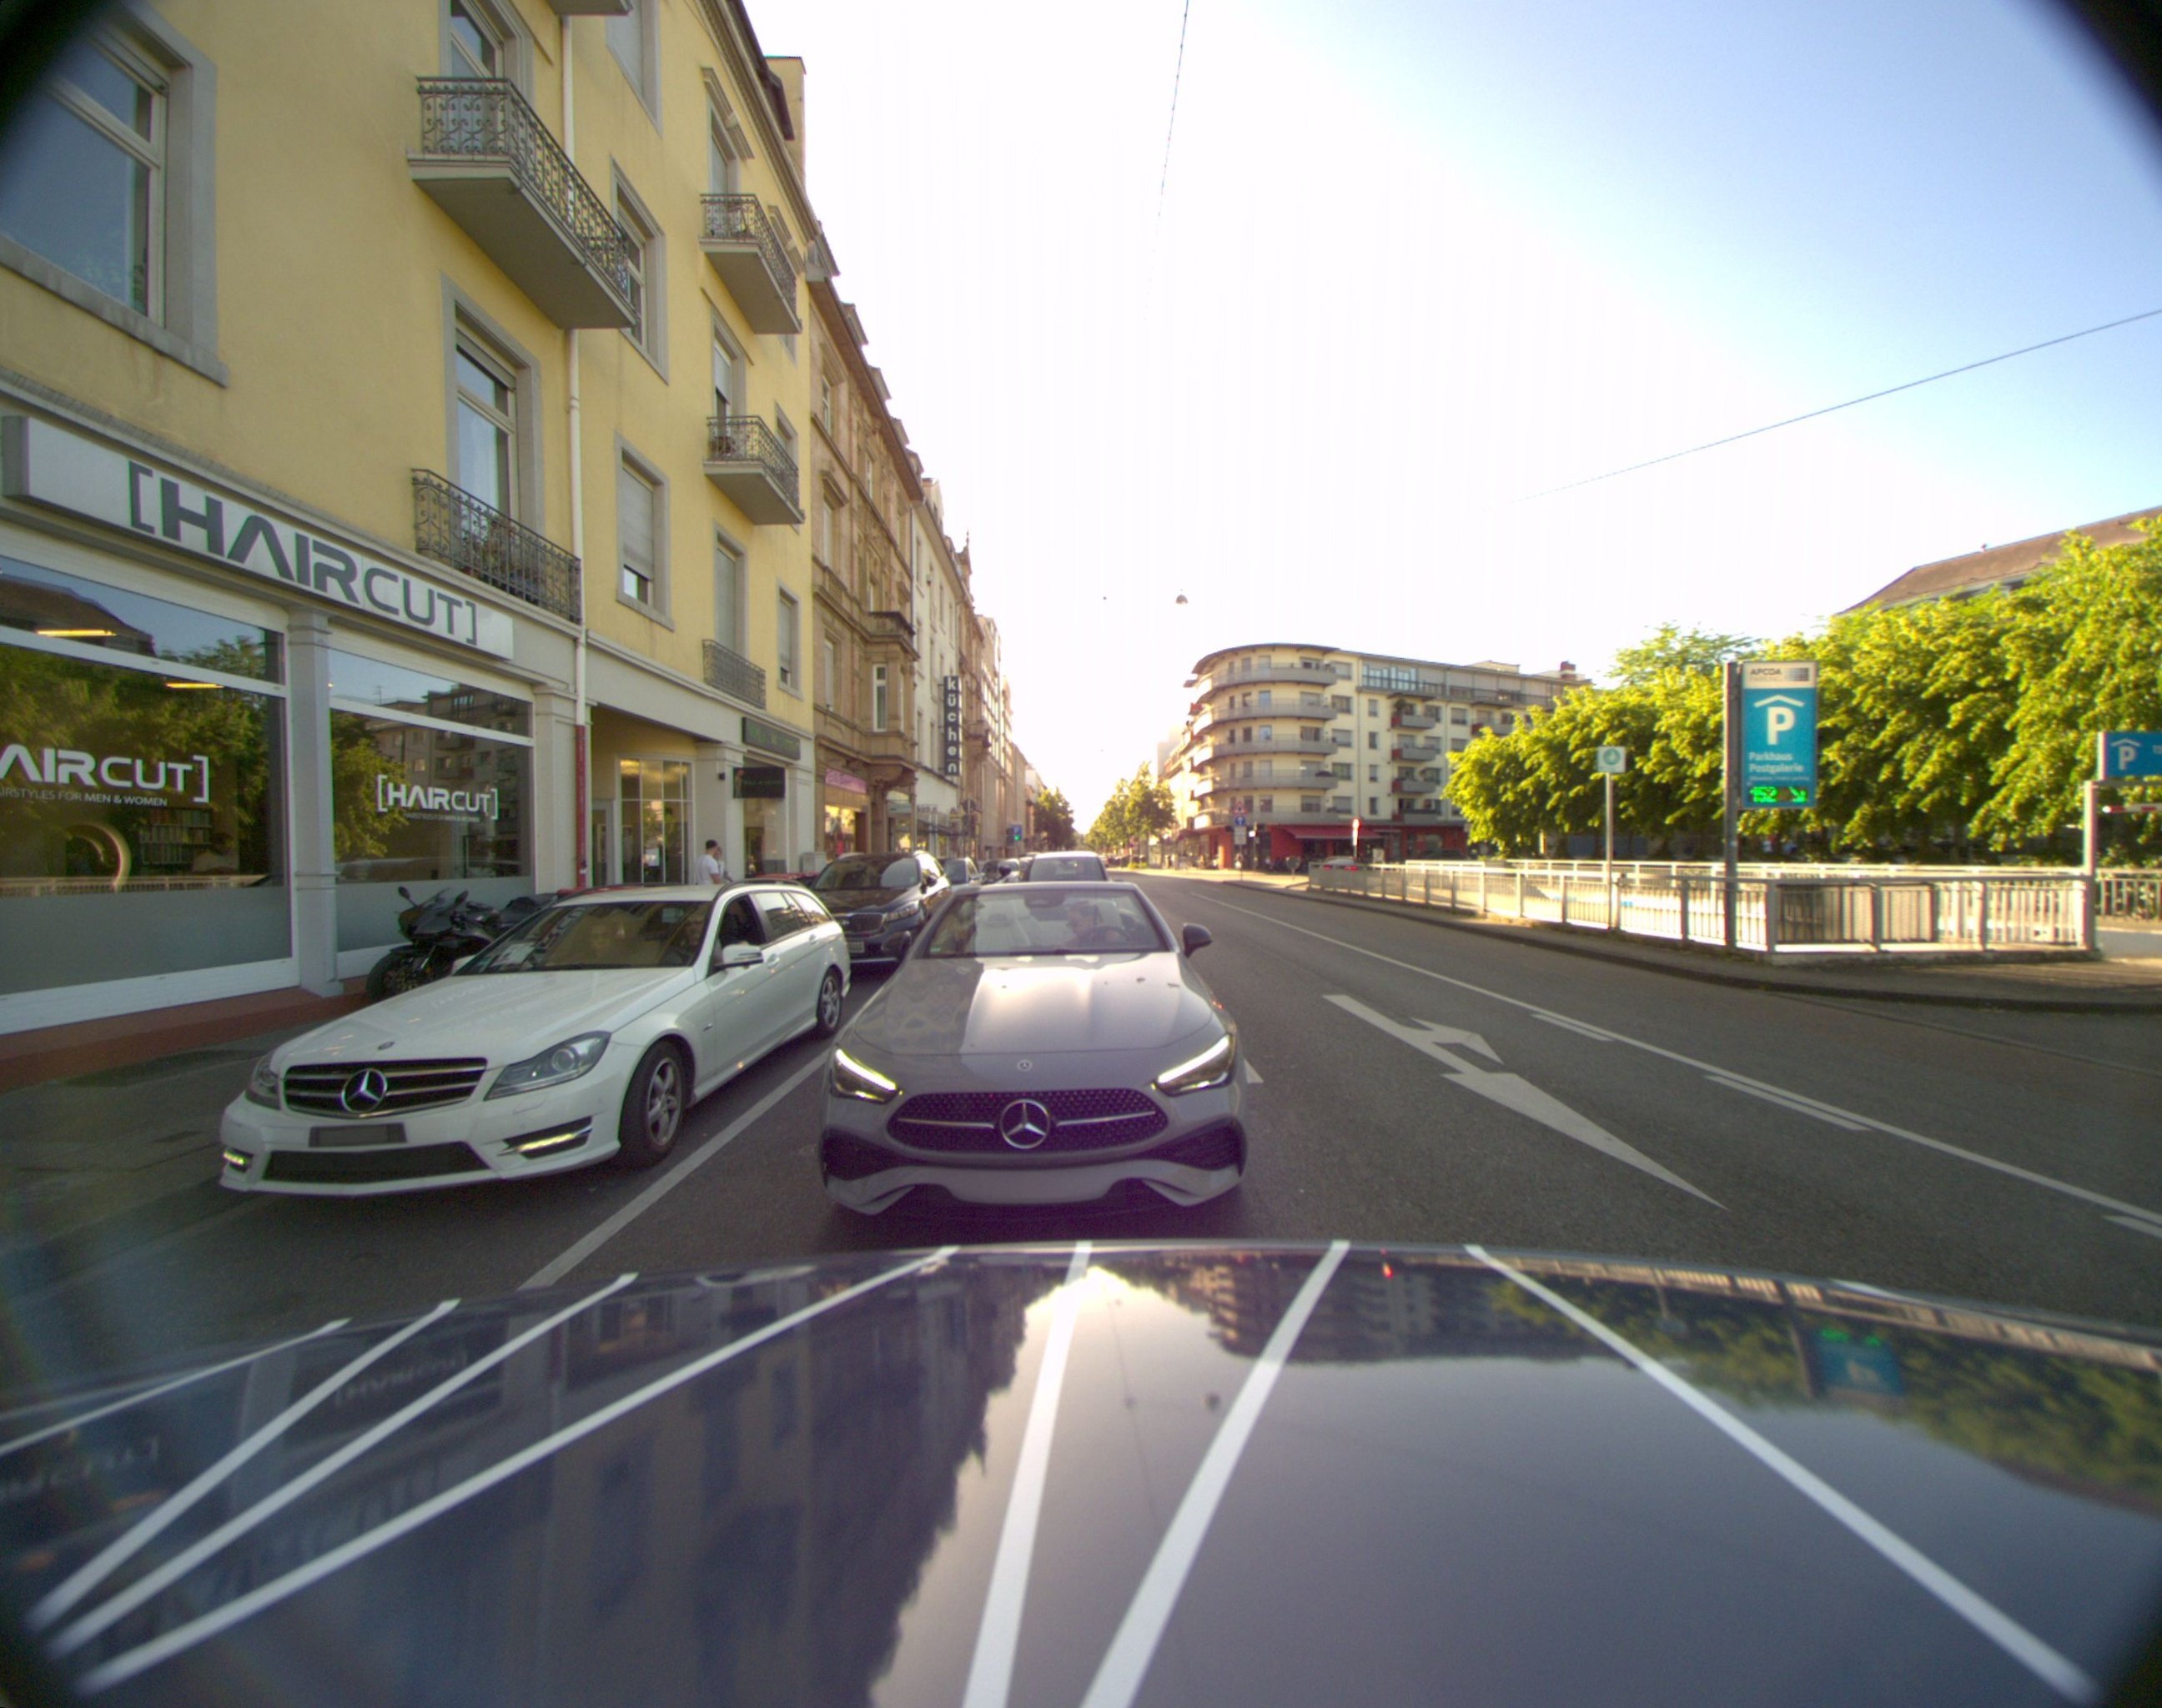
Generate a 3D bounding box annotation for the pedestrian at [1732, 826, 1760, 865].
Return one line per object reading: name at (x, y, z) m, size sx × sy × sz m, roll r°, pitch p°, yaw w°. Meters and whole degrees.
pedestrian at (32.207, -0.394, 36.801) m, size 0.748 × 1.852 × 0.683 m, roll -2°, pitch 1°, yaw -13°

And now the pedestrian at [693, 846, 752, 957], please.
pedestrian at (-6.147, 0.791, 13.052) m, size 0.630 × 1.826 × 0.770 m, roll -2°, pitch 1°, yaw -7°

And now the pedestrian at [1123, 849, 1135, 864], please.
pedestrian at (5.984, 0.266, 95.091) m, size 1.220 × 1.826 × 1.204 m, roll -2°, pitch 1°, yaw 19°

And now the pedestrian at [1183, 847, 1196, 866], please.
pedestrian at (10.255, 0.197, 72.124) m, size 1.060 × 1.739 × 0.962 m, roll -2°, pitch 1°, yaw 1°

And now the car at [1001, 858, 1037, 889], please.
car at (-2.954, 0.896, 36.673) m, size 1.461 × 1.310 × 3.363 m, roll -2°, pitch 1°, yaw -1°

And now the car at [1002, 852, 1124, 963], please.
car at (-0.348, 0.837, 14.376) m, size 1.866 × 1.658 × 4.706 m, roll -2°, pitch 1°, yaw -2°

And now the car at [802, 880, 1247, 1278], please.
car at (-0.280, 0.994, 5.350) m, size 1.769 × 1.360 × 4.471 m, roll -2°, pitch 1°, yaw -2°

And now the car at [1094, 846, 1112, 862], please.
car at (2.701, -0.008, 94.048) m, size 1.836 × 1.831 × 3.886 m, roll 1°, pitch 1°, yaw -2°

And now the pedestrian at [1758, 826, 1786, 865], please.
pedestrian at (33.375, -0.428, 36.691) m, size 0.748 × 1.832 × 0.683 m, roll -2°, pitch 1°, yaw -13°

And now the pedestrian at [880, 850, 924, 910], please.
pedestrian at (-5.254, 0.756, 22.341) m, size 0.835 × 1.709 × 0.821 m, roll -2°, pitch 1°, yaw 30°

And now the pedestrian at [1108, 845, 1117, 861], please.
pedestrian at (4.541, -0.149, 109.146) m, size 1.116 × 2.328 × 1.029 m, roll -2°, pitch 1°, yaw 5°

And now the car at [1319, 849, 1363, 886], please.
car at (12.283, 0.636, 36.054) m, size 1.674 × 1.521 × 4.256 m, roll -4°, pitch -2°, yaw 16°

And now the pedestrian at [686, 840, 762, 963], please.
pedestrian at (-5.699, 0.727, 12.142) m, size 0.975 × 1.866 × 0.534 m, roll -3°, pitch 1°, yaw -31°

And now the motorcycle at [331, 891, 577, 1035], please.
motorcycle at (-6.254, 1.020, 7.781) m, size 0.735 × 1.124 × 2.109 m, roll 2°, pitch 1°, yaw 1°

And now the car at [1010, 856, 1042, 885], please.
car at (-2.942, 0.862, 40.942) m, size 1.461 × 1.391 × 3.362 m, roll -2°, pitch 1°, yaw -1°

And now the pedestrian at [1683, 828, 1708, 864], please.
pedestrian at (31.892, -0.411, 39.447) m, size 0.748 × 1.832 × 0.683 m, roll -3°, pitch 1°, yaw -21°

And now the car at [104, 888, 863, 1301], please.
car at (-3.025, 1.069, 5.239) m, size 1.672 × 1.364 × 4.377 m, roll -2°, pitch 1°, yaw 1°

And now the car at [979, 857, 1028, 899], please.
car at (-3.026, 0.899, 30.304) m, size 1.695 × 1.482 × 3.796 m, roll -2°, pitch 1°, yaw -3°

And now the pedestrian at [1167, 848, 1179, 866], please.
pedestrian at (9.050, 0.250, 74.789) m, size 1.068 × 1.709 × 1.081 m, roll -2°, pitch 1°, yaw 10°

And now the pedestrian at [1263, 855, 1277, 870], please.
pedestrian at (14.922, 0.661, 60.031) m, size 0.780 × 1.191 × 0.884 m, roll -2°, pitch 1°, yaw -10°

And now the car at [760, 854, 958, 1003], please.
car at (-3.012, 0.887, 11.330) m, size 1.806 × 1.680 × 4.408 m, roll -2°, pitch 1°, yaw -3°

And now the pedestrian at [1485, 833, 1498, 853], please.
pedestrian at (38.360, -1.002, 71.015) m, size 0.747 × 1.832 × 0.684 m, roll -2°, pitch 1°, yaw 1°

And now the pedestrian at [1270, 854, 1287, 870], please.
pedestrian at (15.429, 0.649, 59.373) m, size 0.937 × 1.191 × 0.832 m, roll -3°, pitch 1°, yaw -24°

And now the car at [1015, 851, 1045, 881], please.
car at (-3.153, 0.712, 47.539) m, size 1.695 × 1.670 × 3.880 m, roll -2°, pitch 1°, yaw -3°

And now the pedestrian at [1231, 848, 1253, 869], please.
pedestrian at (12.846, 0.374, 60.688) m, size 1.142 × 1.656 × 1.269 m, roll -3°, pitch 1°, yaw -41°

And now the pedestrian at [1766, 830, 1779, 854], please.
pedestrian at (46.214, -0.810, 50.777) m, size 0.494 × 1.570 × 0.493 m, roll -3°, pitch 1°, yaw -24°

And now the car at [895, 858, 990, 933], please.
car at (-3.181, 0.902, 17.981) m, size 1.583 × 1.514 × 2.998 m, roll -2°, pitch 1°, yaw 1°

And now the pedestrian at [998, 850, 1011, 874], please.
pedestrian at (-5.689, 0.576, 56.746) m, size 0.826 × 1.750 × 0.823 m, roll -2°, pitch 1°, yaw -1°
